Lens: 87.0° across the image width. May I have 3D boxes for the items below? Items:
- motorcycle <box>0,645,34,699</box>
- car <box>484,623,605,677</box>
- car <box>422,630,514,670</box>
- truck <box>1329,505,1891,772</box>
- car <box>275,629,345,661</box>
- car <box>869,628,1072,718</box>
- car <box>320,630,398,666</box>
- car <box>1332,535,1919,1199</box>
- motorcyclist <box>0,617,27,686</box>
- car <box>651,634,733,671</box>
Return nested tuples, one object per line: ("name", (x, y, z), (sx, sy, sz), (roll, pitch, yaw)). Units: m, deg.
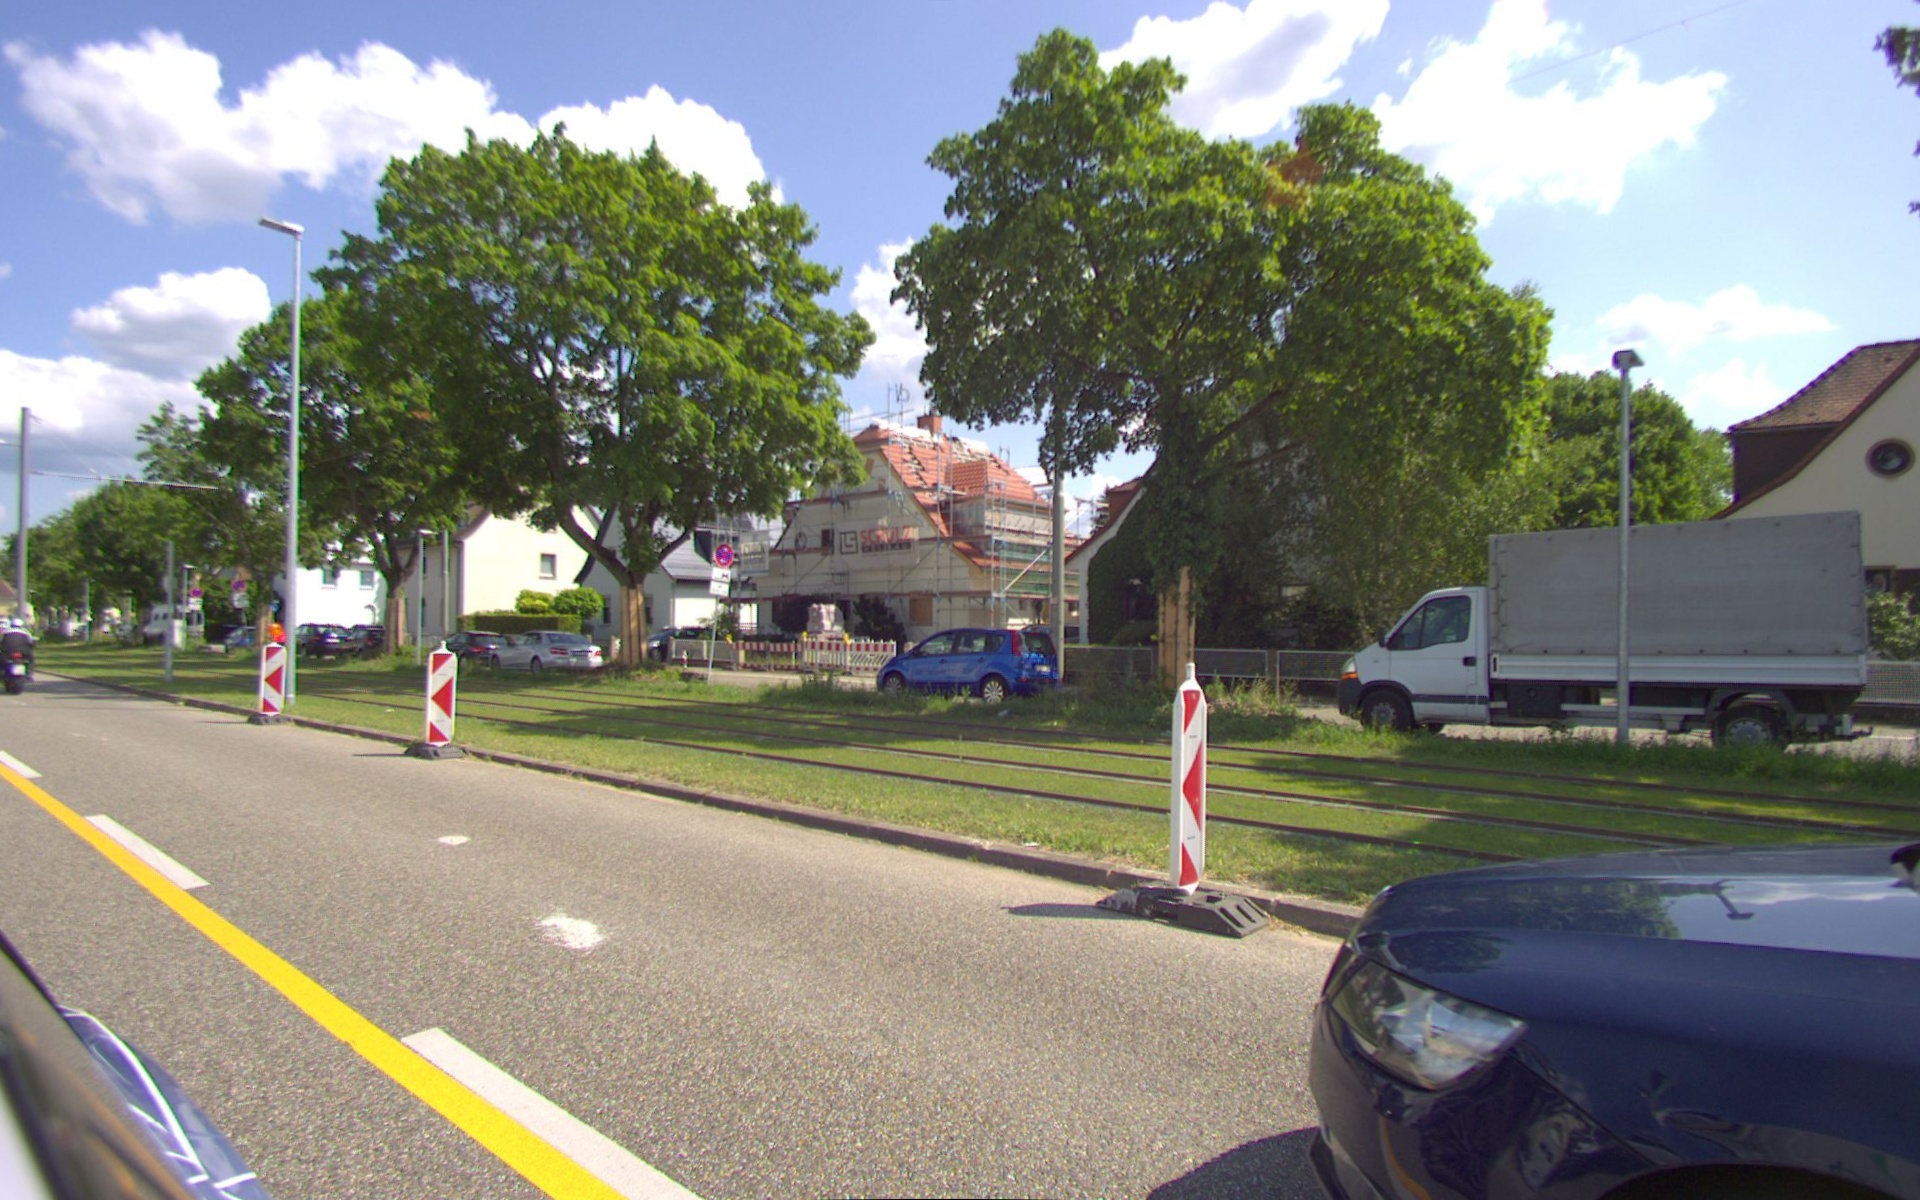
("motorcycle", (-20.402, 1.515, 21.568), (2.465, 1.050, 0.697), (-1, -2, 41))
("car", (-13.159, 1.523, 31.922), (4.522, 1.524, 1.685), (-1, 0, 41))
("car", (-17.404, 1.718, 35.747), (3.785, 1.251, 1.604), (-1, 0, 41))
("truck", (8.351, 0.419, 13.558), (5.948, 2.826, 2.340), (-1, 0, 41))
("car", (-29.563, 2.016, 45.983), (3.998, 1.311, 1.615), (-1, 0, 41))
("car", (0.141, 1.365, 20.172), (3.929, 1.524, 1.651), (-1, 0, 41))
("car", (-25.012, 1.974, 42.079), (3.998, 1.311, 1.615), (-1, 0, 41))
("car", (2.910, 0.680, 0.941), (4.532, 1.498, 1.694), (-1, -3, 39))
("motorcyclist", (-20.376, 1.085, 21.558), (0.588, 1.453, 0.643), (-1, -2, 41))
("car", (-11.279, 2.173, 42.595), (3.190, 1.393, 1.492), (-1, 0, -19))
